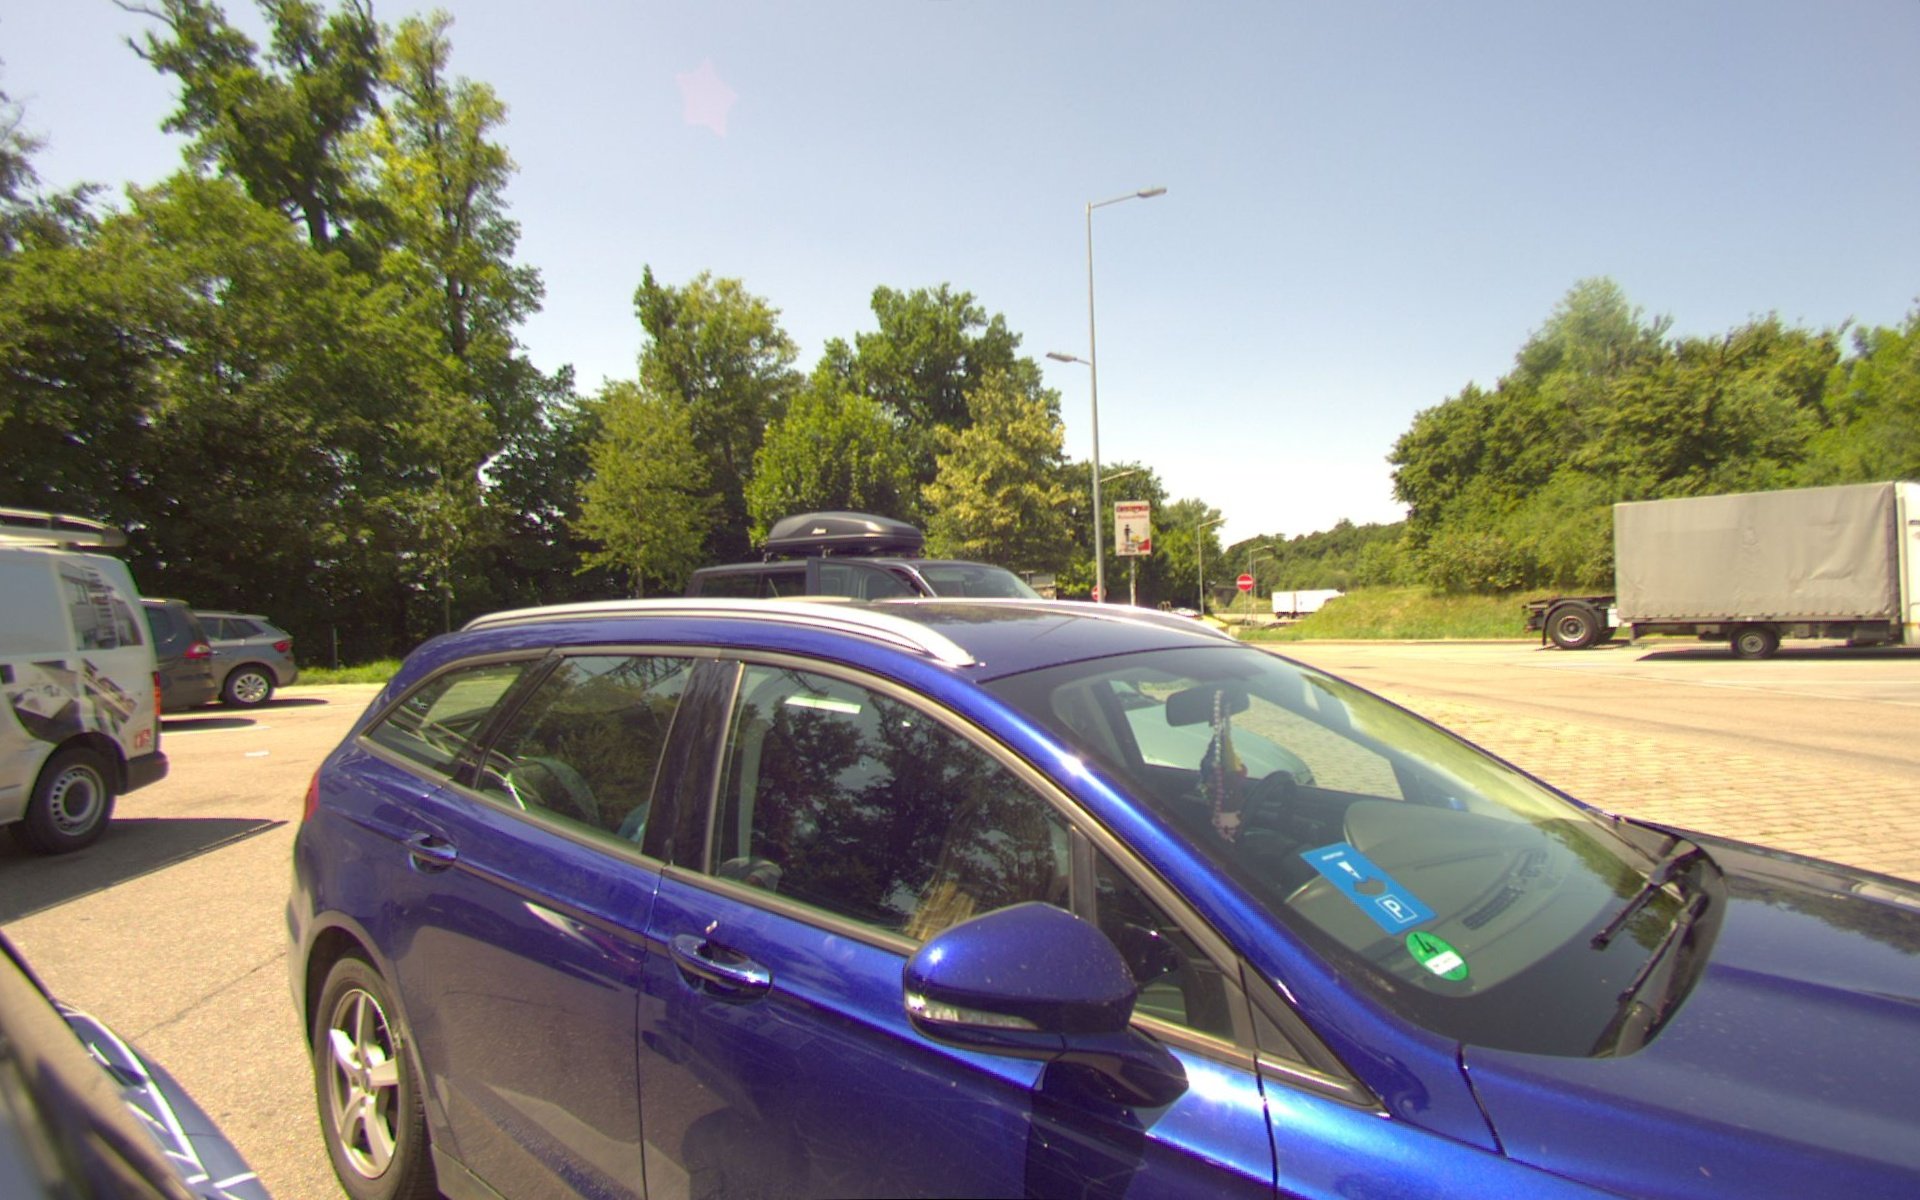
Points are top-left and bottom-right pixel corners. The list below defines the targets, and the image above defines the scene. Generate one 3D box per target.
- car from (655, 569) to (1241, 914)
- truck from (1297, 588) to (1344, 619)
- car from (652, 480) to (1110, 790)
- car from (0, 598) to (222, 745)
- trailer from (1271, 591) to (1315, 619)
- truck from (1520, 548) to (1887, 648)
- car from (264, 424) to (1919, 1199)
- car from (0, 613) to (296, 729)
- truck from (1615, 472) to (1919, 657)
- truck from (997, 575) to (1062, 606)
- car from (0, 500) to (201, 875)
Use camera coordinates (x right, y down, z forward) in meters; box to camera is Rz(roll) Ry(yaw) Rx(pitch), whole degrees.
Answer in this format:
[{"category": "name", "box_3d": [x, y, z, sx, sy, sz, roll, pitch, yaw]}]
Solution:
[{"category": "car", "box_3d": [-0.220, 0.598, 5.553, 3.112, 1.370, 1.326, -2, -1, 41]}, {"category": "truck", "box_3d": [49.992, 0.575, 140.621, 2.543, 4.045, 8.564, -1, -1, -7]}, {"category": "car", "box_3d": [-0.849, 0.325, 9.527, 4.076, 2.336, 1.767, -2, -1, 35]}, {"category": "car", "box_3d": [-11.672, 0.851, 12.593, 1.755, 1.701, 3.798, -2, -1, 45]}, {"category": "trailer", "box_3d": [49.030, 0.795, 149.228, 2.543, 3.981, 8.719, -1, -1, -7]}, {"category": "truck", "box_3d": [16.991, 0.050, 23.547, 6.613, 2.029, 1.973, -2, -1, 41]}, {"category": "car", "box_3d": [0.234, 0.632, 2.085, 4.411, 1.429, 1.721, -2, -1, 41]}, {"category": "car", "box_3d": [-12.533, 1.000, 15.677, 3.535, 1.513, 1.708, -1, 0, -42]}, {"category": "truck", "box_3d": [16.649, -0.596, 18.765, 7.253, 3.175, 2.148, -2, -1, 41]}, {"category": "truck", "box_3d": [3.362, -0.455, 48.860, 2.866, 1.386, 1.158, -2, -1, 22]}, {"category": "car", "box_3d": [-6.253, 0.478, 4.655, 1.816, 2.121, 5.440, 0, -1, -5]}]
